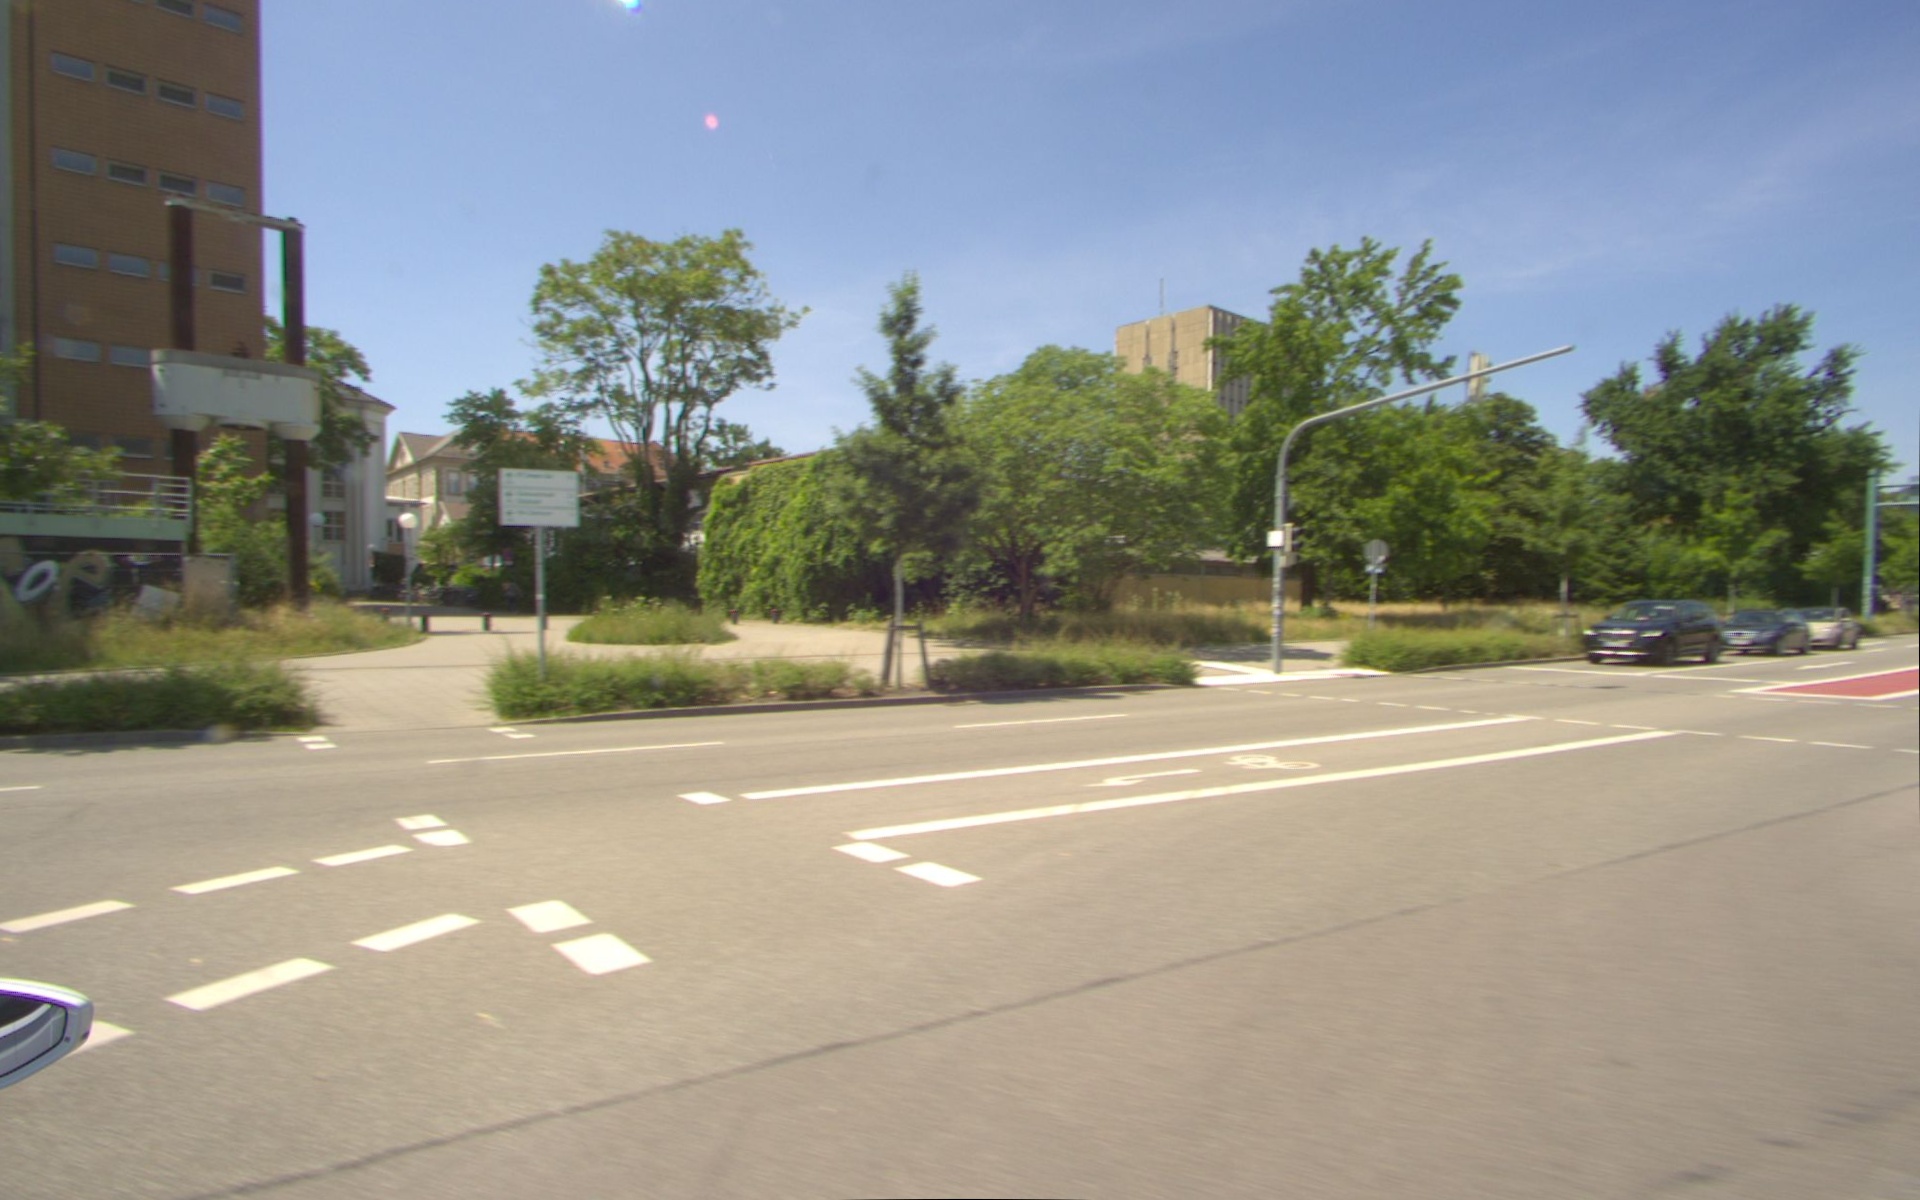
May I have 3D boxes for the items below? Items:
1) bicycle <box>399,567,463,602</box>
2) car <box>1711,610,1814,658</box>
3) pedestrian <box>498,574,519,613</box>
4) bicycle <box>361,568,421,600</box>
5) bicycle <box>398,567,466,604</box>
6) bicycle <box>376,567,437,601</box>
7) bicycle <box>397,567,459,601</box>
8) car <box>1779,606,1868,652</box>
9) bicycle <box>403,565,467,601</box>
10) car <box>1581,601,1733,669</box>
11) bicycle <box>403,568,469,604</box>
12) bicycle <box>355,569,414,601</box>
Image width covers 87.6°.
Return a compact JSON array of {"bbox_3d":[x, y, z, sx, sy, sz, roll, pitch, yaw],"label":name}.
[{"bbox_3d":[-33.285,-0.942,63.059,3.419,2.040,0.754,3,0,-38],"label":"bicycle"},{"bbox_3d":[24.895,1.064,31.025,3.958,1.327,1.744,3,-1,-40],"label":"car"},{"bbox_3d":[-20.224,-0.289,44.851,0.634,1.687,0.700,2,0,-41],"label":"pedestrian"},{"bbox_3d":[-38.626,-1.065,68.026,3.419,2.040,0.754,3,0,-38],"label":"bicycle"},{"bbox_3d":[-31.238,-0.827,59.305,3.419,2.040,0.754,3,0,-38],"label":"bicycle"},{"bbox_3d":[-36.457,-1.041,65.973,3.419,2.040,0.754,3,0,-38],"label":"bicycle"},{"bbox_3d":[-34.513,-1.004,65.039,3.419,2.040,0.754,3,0,-38],"label":"bicycle"},{"bbox_3d":[30.283,1.037,35.096,3.958,1.457,1.744,3,-1,-40],"label":"car"},{"bbox_3d":[-32.568,-1.028,62.179,3.419,2.040,0.754,3,0,-38],"label":"bicycle"},{"bbox_3d":[18.171,0.849,26.043,4.495,1.608,1.697,0,1,-34],"label":"car"},{"bbox_3d":[-31.743,-0.827,60.760,3.419,2.040,0.754,3,0,-38],"label":"bicycle"},{"bbox_3d":[-39.639,-1.008,68.970,3.419,2.040,0.754,3,0,-38],"label":"bicycle"}]
